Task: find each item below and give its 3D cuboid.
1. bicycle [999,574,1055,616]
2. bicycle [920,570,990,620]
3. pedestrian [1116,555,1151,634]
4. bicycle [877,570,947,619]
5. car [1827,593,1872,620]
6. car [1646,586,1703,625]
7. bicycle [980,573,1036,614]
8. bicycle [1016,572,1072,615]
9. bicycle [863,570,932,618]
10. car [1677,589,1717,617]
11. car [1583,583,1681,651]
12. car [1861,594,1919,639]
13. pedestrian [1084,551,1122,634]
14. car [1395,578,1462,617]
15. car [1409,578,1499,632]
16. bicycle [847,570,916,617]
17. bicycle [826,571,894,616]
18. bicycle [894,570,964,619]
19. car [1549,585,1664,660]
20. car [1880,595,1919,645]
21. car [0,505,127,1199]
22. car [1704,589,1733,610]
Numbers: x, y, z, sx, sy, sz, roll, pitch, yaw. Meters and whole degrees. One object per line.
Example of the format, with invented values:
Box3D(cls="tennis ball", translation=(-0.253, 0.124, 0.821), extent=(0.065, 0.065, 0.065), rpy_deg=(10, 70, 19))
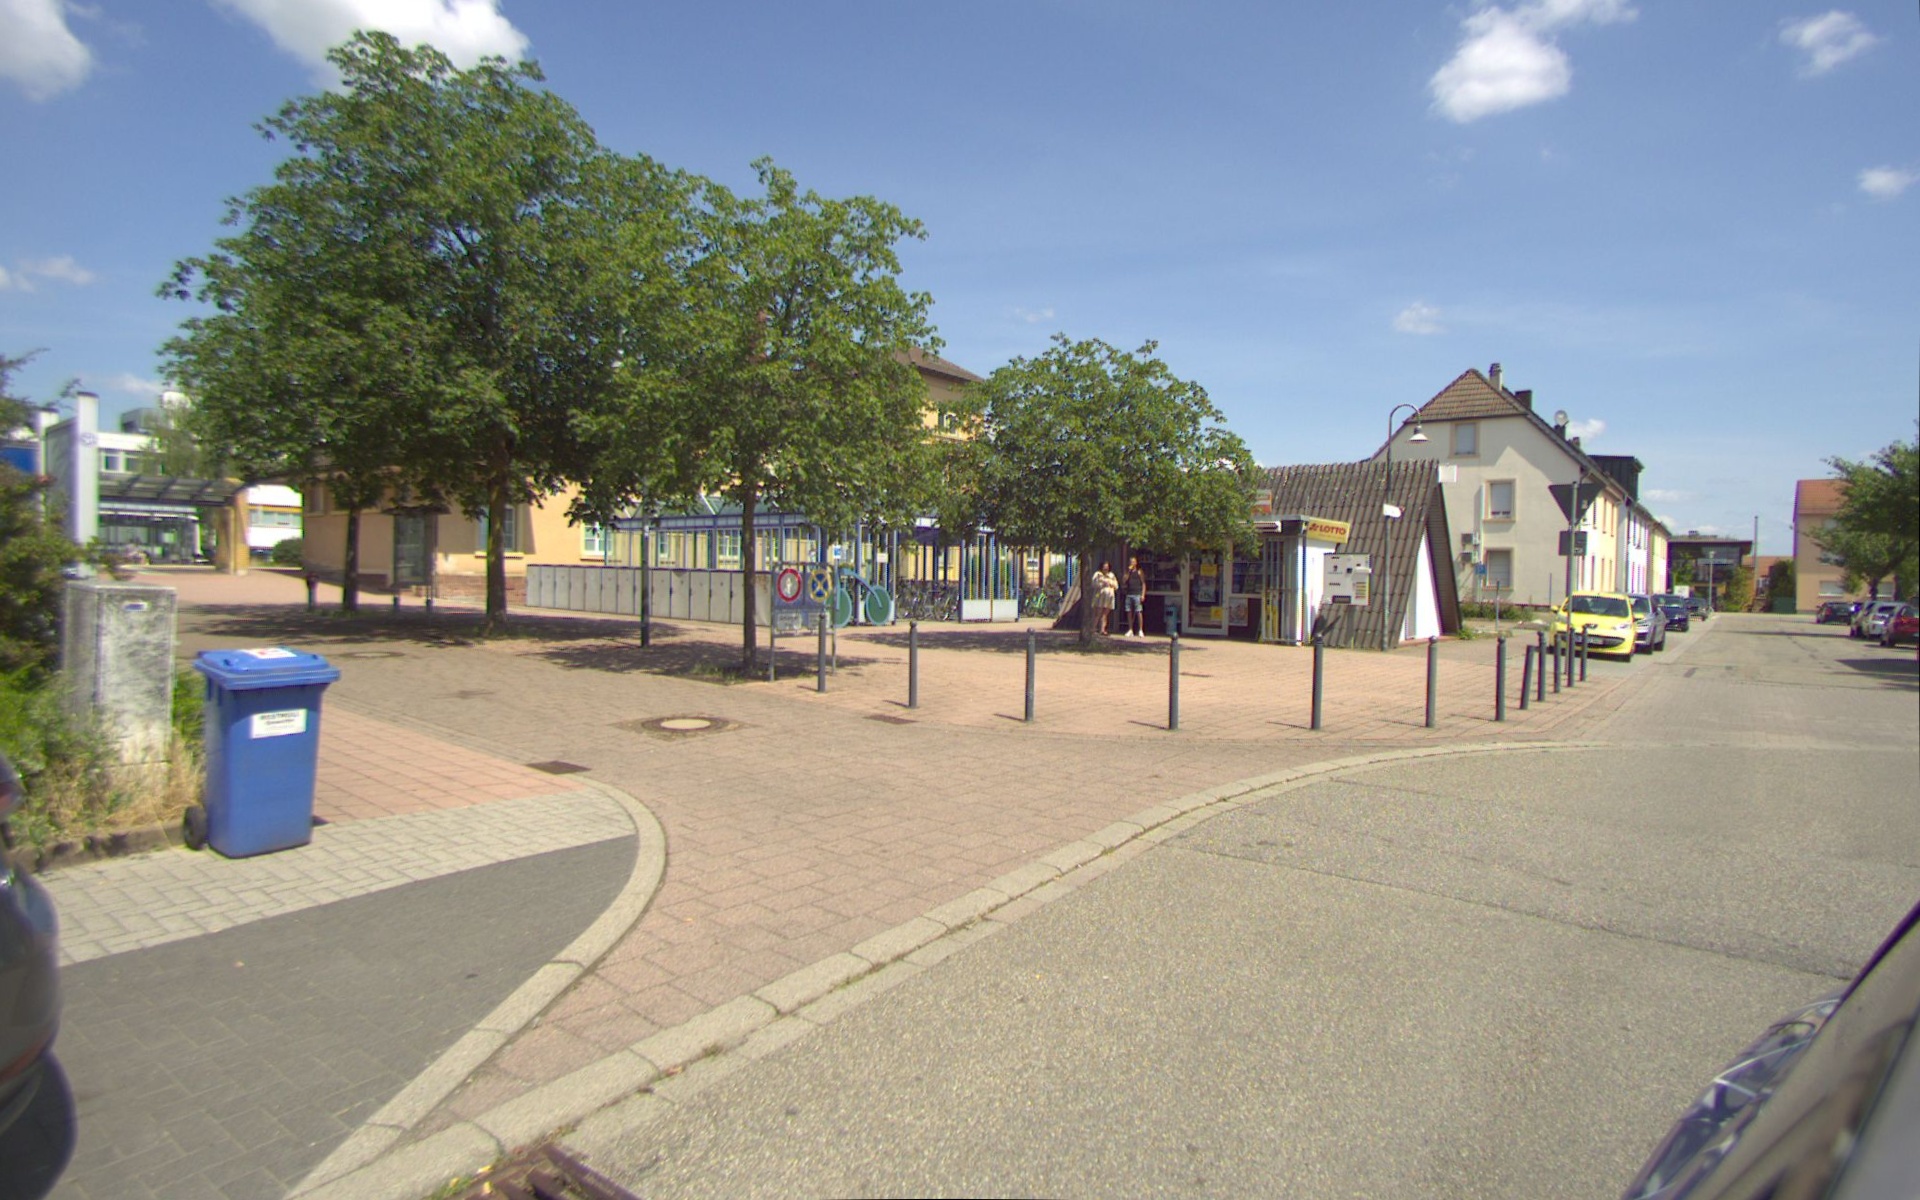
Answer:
Box3D(cls="bicycle", translation=(2.289, -0.162, 34.363), extent=(0.603, 1.367, 2.317), rpy_deg=(3, 2, 41))
Box3D(cls="bicycle", translation=(-0.123, -0.143, 28.818), extent=(0.603, 1.367, 2.317), rpy_deg=(3, 2, 41))
Box3D(cls="pedestrian", translation=(3.895, -0.132, 22.749), extent=(0.585, 1.741, 0.465), rpy_deg=(1, 1, -10))
Box3D(cls="bicycle", translation=(-1.381, -0.173, 29.734), extent=(0.603, 1.367, 2.317), rpy_deg=(3, 2, 41))
Box3D(cls="car", translation=(54.303, 0.368, 61.865), extent=(1.713, 1.518, 4.158), rpy_deg=(5, 3, 38))
Box3D(cls="car", translation=(31.480, 0.208, 44.545), extent=(1.714, 1.518, 4.156), rpy_deg=(7, 4, 38))
Box3D(cls="bicycle", translation=(1.671, -0.231, 34.889), extent=(0.603, 1.367, 2.317), rpy_deg=(3, 2, 41))
Box3D(cls="bicycle", translation=(2.822, -0.229, 33.832), extent=(0.603, 1.367, 2.317), rpy_deg=(3, 2, 41))
Box3D(cls="bicycle", translation=(-1.864, -0.186, 30.425), extent=(0.603, 1.367, 2.317), rpy_deg=(3, 2, 41))
Box3D(cls="car", translation=(45.118, 0.175, 61.919), extent=(1.714, 1.518, 4.156), rpy_deg=(7, 4, 38))
Box3D(cls="car", translation=(17.887, 0.392, 26.859), extent=(1.714, 1.518, 4.156), rpy_deg=(7, 4, 38))
Box3D(cls="car", translation=(35.546, 0.598, 38.357), extent=(1.713, 1.518, 4.158), rpy_deg=(5, 3, 38))
Box3D(cls="pedestrian", translation=(3.195, -0.169, 22.635), extent=(0.666, 1.811, 0.550), rpy_deg=(1, 1, -10))
Box3D(cls="car", translation=(18.265, -0.096, 39.381), extent=(1.499, 1.325, 3.460), rpy_deg=(7, 4, 38))
Box3D(cls="car", translation=(14.082, 0.117, 28.781), extent=(1.499, 1.325, 3.460), rpy_deg=(7, 4, 38))
Box3D(cls="bicycle", translation=(-2.386, -0.197, 30.979), extent=(0.603, 1.367, 2.317), rpy_deg=(3, 2, 41))
Box3D(cls="bicycle", translation=(-3.121, -0.213, 31.806), extent=(0.603, 1.367, 2.317), rpy_deg=(3, 2, 41))
Box3D(cls="bicycle", translation=(-0.867, -0.161, 29.153), extent=(0.603, 1.367, 2.317), rpy_deg=(3, 2, 41))
Box3D(cls="car", translation=(15.002, 0.458, 23.381), extent=(1.714, 1.414, 4.156), rpy_deg=(7, 4, 38))
Box3D(cls="car", translation=(31.683, 0.662, 33.276), extent=(1.713, 1.518, 4.158), rpy_deg=(5, 3, 38))
Box3D(cls="car", translation=(-3.556, 0.555, 0.913), extent=(1.624, 1.507, 4.084), rpy_deg=(3, 2, 37))
Box3D(cls="car", translation=(63.844, -0.060, 85.185), extent=(1.714, 1.518, 4.156), rpy_deg=(7, 4, 38))
